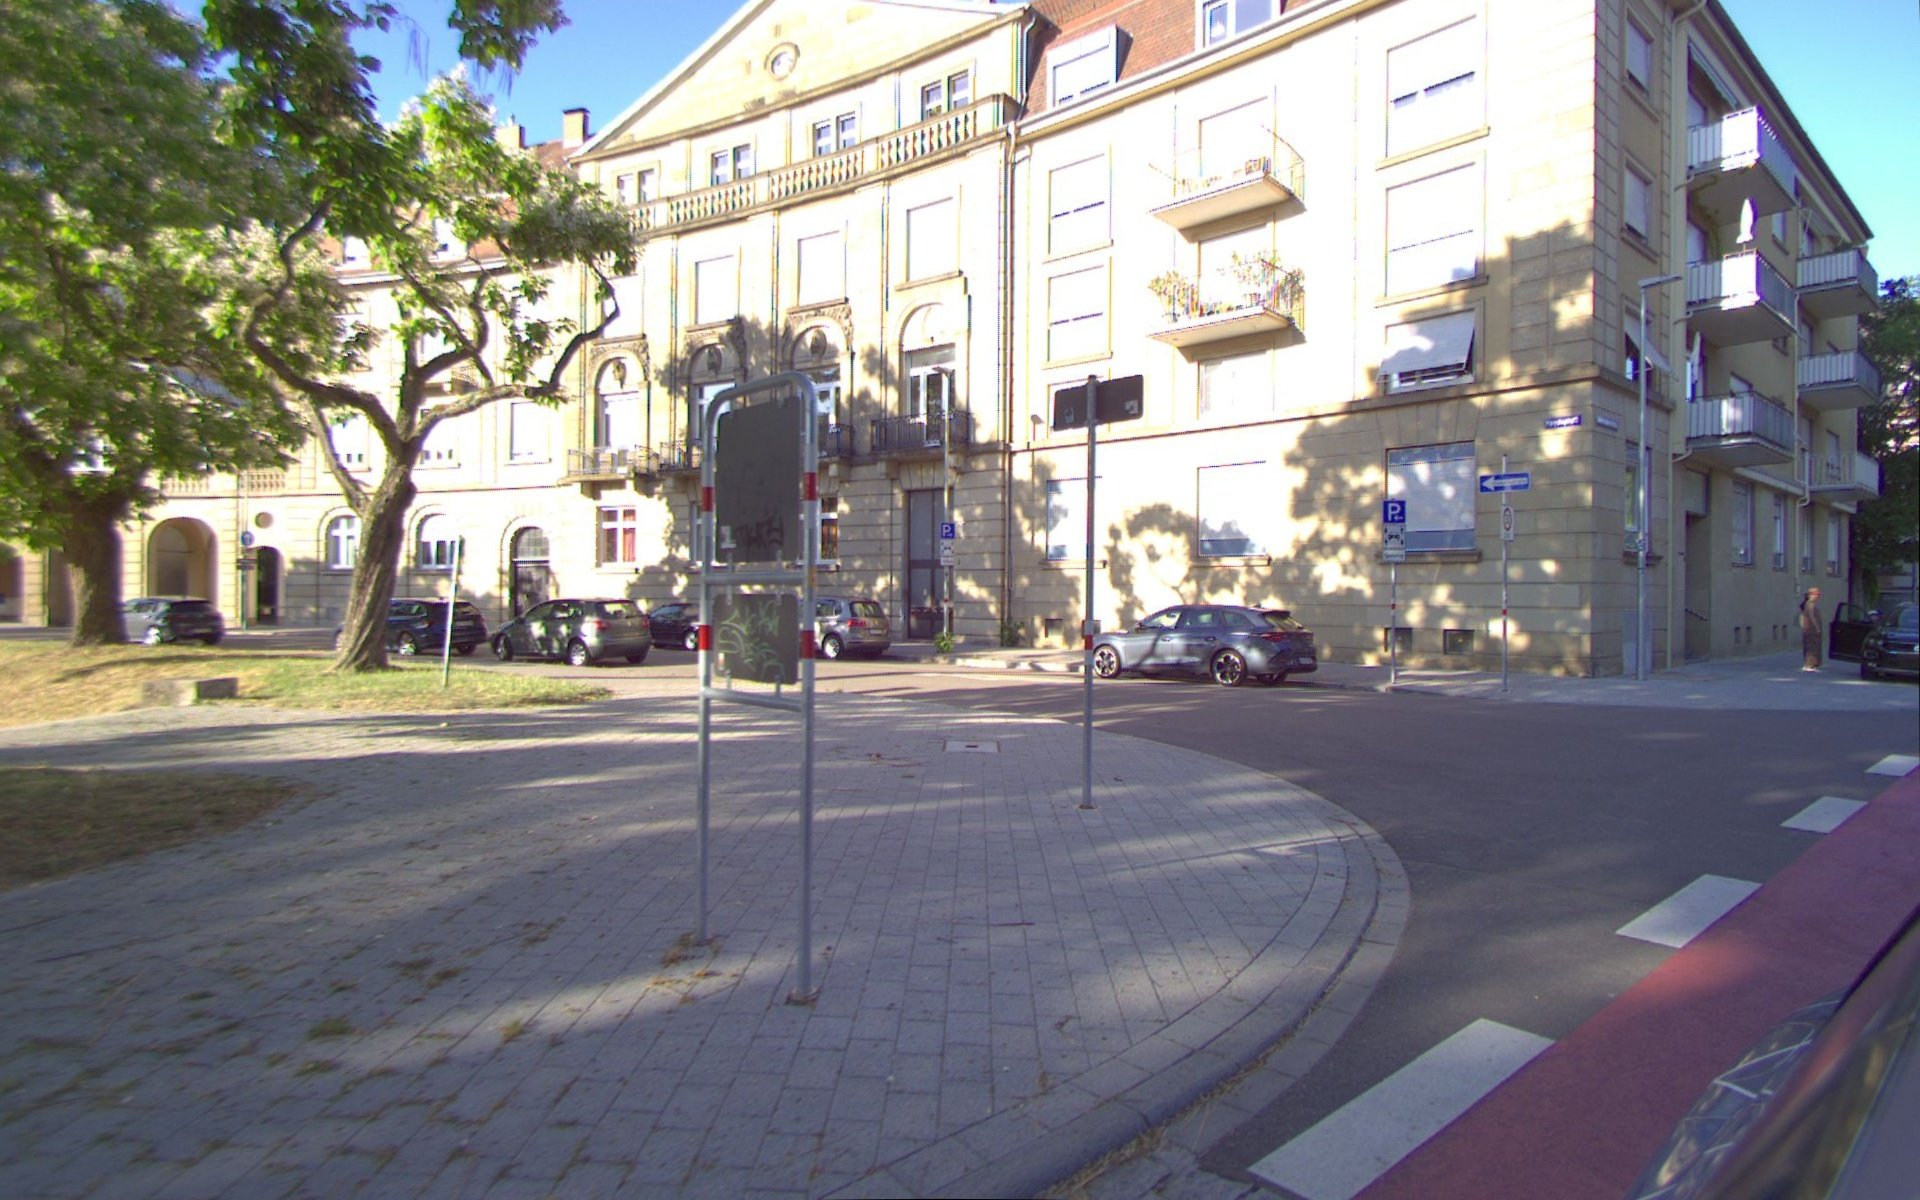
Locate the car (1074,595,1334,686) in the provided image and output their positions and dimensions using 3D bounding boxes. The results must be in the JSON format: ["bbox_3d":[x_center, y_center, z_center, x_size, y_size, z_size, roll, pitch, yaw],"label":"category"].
[{"bbox_3d":[4.468,0.659,19.016,1.905,1.436,4.441,-1,1,-45],"label":"car"}]

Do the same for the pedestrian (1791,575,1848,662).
[{"bbox_3d":[18.455,0.397,21.745,0.721,1.854,0.554,-1,-1,14],"label":"pedestrian"}]

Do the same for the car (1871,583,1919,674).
[{"bbox_3d":[19.369,0.553,19.792,4.271,1.646,1.707,1,2,-40],"label":"car"}]

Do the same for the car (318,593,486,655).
[{"bbox_3d":[-14.159,0.545,25.623,4.395,1.435,1.552,0,1,27],"label":"car"}]

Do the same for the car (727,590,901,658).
[{"bbox_3d":[-3.829,0.553,26.267,4.420,1.620,1.782,0,1,33],"label":"car"}]

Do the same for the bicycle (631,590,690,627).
[{"bbox_3d":[-10.324,0.279,34.906,2.102,1.245,0.609,0,1,26],"label":"bicycle"}]

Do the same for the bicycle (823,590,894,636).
[{"bbox_3d":[-3.064,0.378,30.413,2.241,1.327,0.607,0,1,33],"label":"bicycle"}]

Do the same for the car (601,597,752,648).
[{"bbox_3d":[-8.198,0.607,29.129,4.412,1.341,1.491,0,1,29],"label":"car"}]

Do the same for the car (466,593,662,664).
[{"bbox_3d":[-8.912,0.575,22.690,4.330,1.435,1.826,0,1,30],"label":"car"}]

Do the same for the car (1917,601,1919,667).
[{"bbox_3d":[23.107,0.758,22.715,4.269,1.437,1.708,-1,3,-38],"label":"car"}]

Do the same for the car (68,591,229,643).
[{"bbox_3d":[-23.999,0.465,29.941,4.317,1.435,1.807,0,1,21],"label":"car"}]
